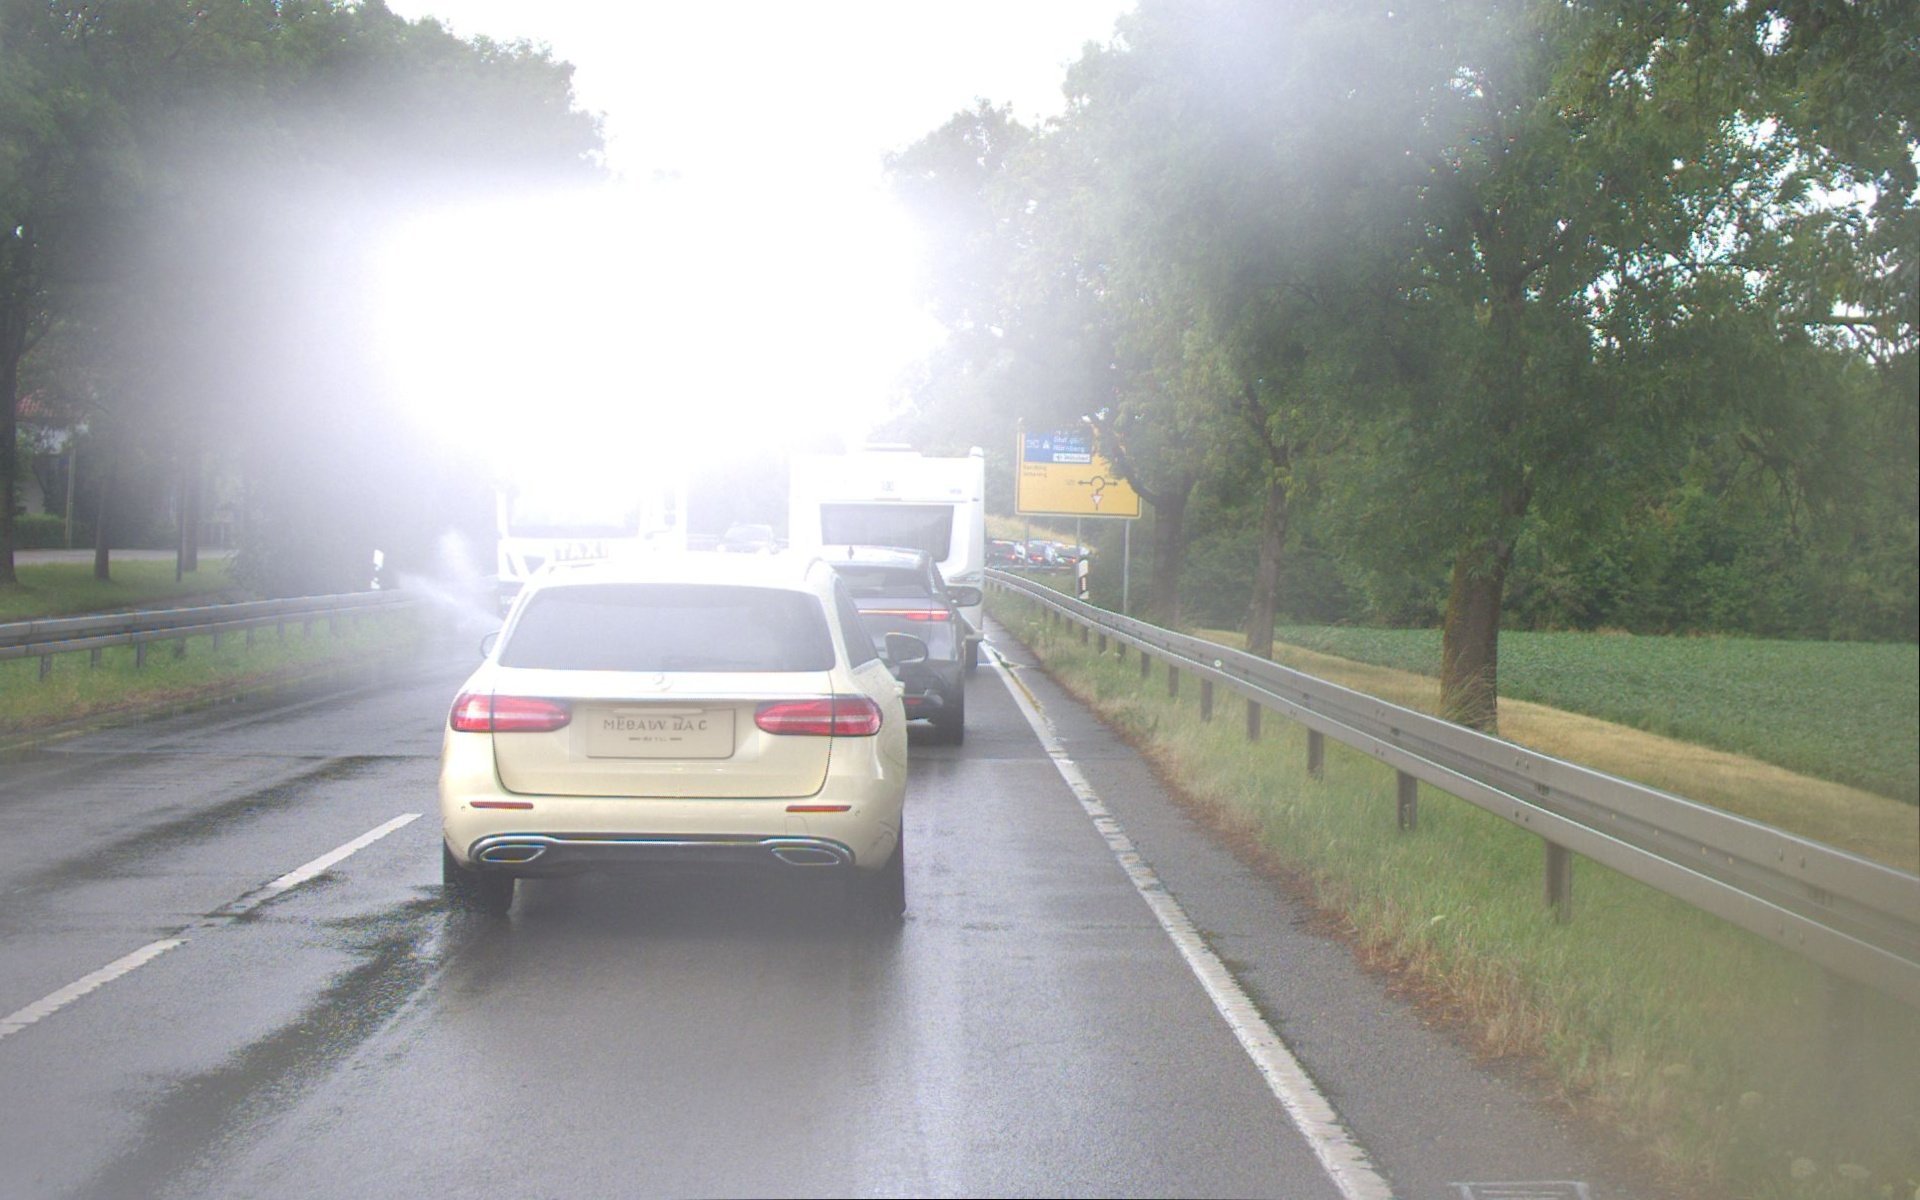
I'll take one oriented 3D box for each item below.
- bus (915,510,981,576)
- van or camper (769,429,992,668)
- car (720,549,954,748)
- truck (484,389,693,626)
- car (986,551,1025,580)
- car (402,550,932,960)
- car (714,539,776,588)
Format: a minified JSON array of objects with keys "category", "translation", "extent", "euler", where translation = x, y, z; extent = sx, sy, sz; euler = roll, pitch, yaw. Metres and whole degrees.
[{"category":"bus","translation":[-0.398,-1.774,106.882],"extent":[1.993,2.007,4.000],"euler":[0,1,-1]},{"category":"van or camper","translation":[-0.881,-0.634,42.074],"extent":[2.489,2.676,5.700],"euler":[1,1,0]},{"category":"car","translation":[-0.906,0.327,27.171],"extent":[1.664,1.426,4.000],"euler":[0,1,0]},{"category":"truck","translation":[-5.770,-1.443,54.764],"extent":[2.576,3.440,9.557],"euler":[0,1,-2]},{"category":"car","translation":[1.847,-1.401,140.125],"extent":[1.551,1.114,4.000],"euler":[1,1,0]},{"category":"car","translation":[-1.089,0.537,14.570],"extent":[1.865,1.471,4.000],"euler":[0,1,0]},{"category":"car","translation":[-6.567,-1.122,105.229],"extent":[1.714,1.446,4.111],"euler":[1,1,-1]}]
